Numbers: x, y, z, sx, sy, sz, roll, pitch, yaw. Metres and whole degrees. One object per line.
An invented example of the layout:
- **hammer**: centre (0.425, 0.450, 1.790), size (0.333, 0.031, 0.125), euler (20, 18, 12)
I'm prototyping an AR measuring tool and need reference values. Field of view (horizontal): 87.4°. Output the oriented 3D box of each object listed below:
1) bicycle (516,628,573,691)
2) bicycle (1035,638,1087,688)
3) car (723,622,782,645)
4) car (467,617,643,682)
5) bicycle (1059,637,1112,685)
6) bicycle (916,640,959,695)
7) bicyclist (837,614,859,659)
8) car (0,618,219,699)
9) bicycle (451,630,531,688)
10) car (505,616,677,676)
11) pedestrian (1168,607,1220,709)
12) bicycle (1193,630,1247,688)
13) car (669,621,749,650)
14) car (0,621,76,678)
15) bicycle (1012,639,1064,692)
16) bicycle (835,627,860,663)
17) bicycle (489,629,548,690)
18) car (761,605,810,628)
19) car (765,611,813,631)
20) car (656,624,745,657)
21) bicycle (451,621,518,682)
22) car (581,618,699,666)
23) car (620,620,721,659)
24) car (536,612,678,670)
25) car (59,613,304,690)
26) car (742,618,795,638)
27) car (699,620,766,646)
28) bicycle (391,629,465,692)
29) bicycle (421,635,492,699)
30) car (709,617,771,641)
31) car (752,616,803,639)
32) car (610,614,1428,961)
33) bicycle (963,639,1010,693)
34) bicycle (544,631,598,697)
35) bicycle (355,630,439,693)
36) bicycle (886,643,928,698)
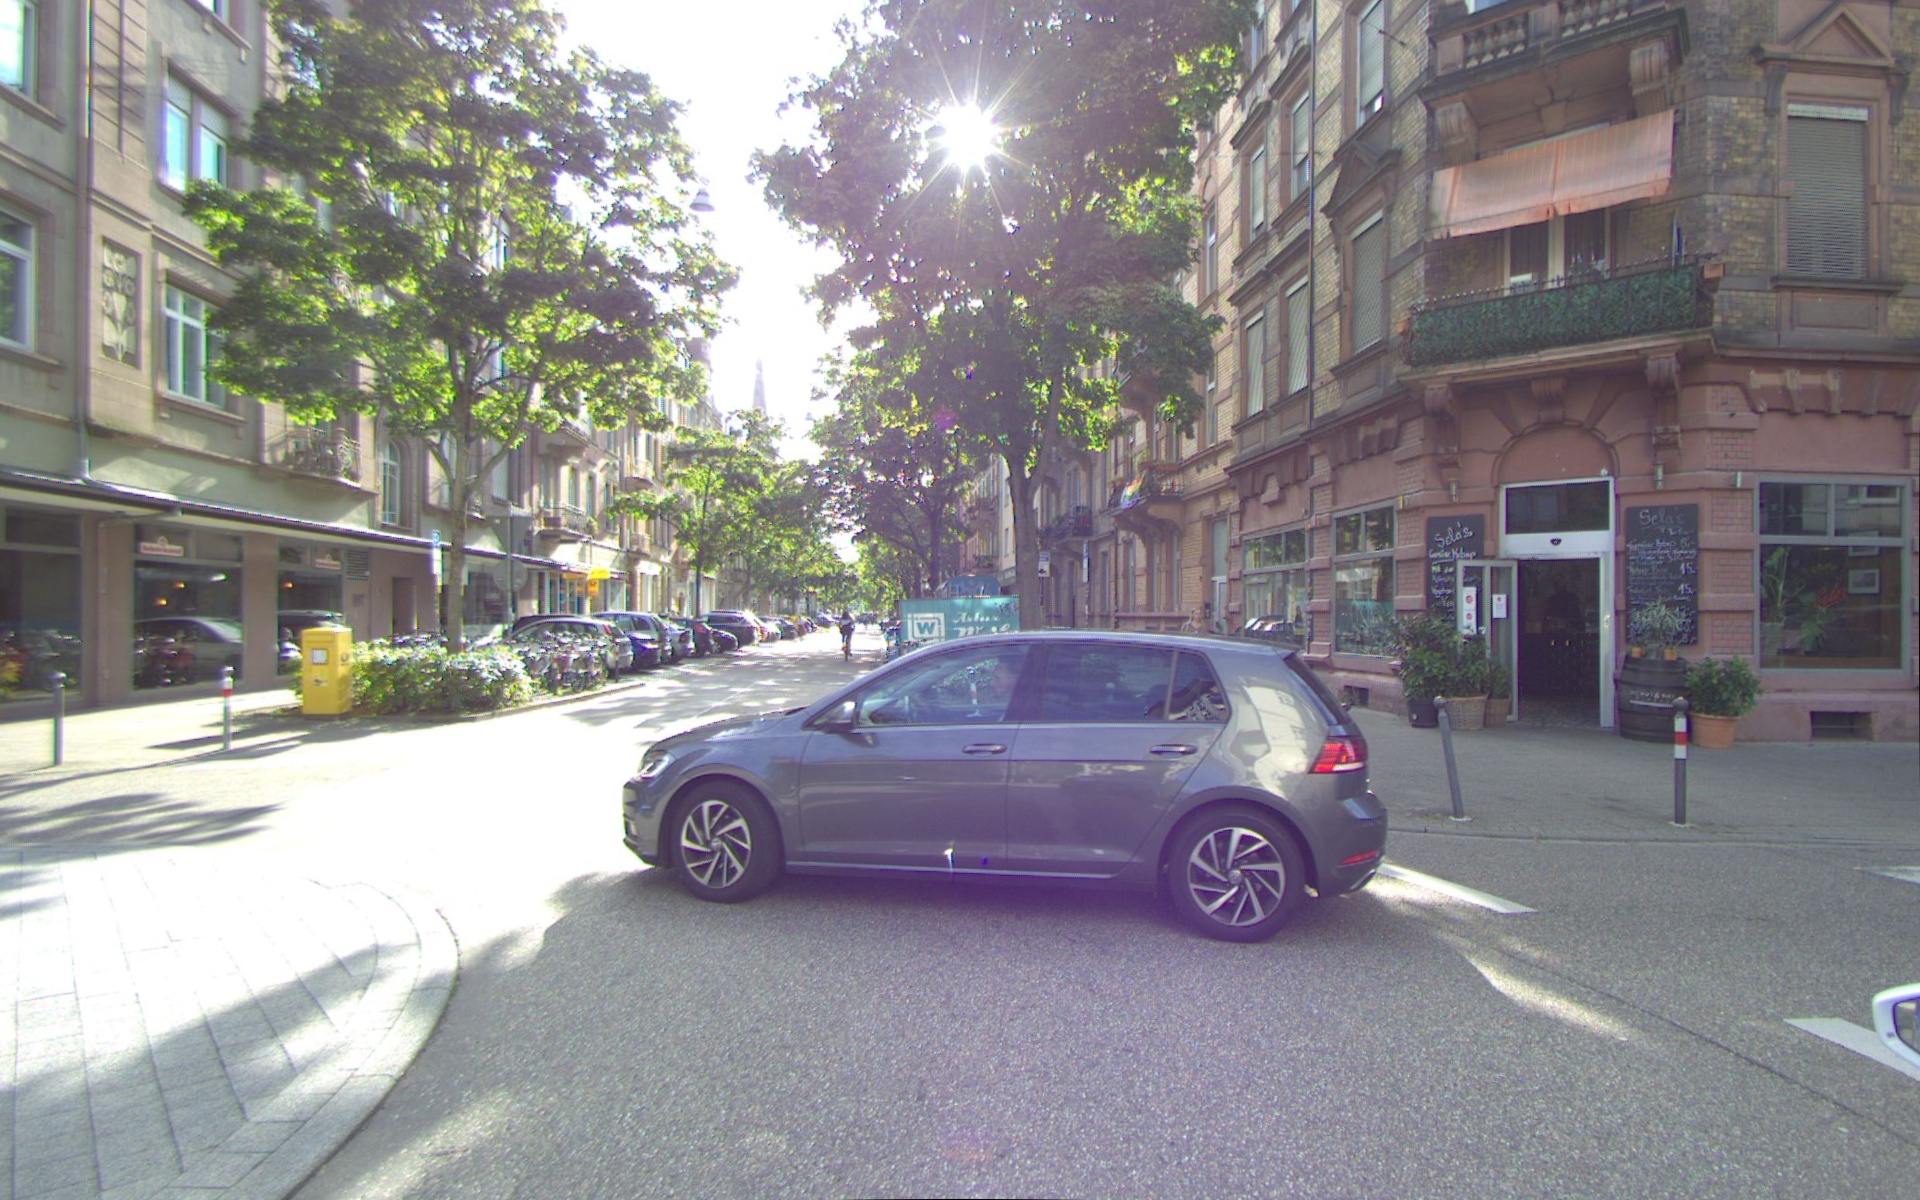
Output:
- **bicycle**: centre (-8.361, 1.163, 20.294), size (0.470, 1.173, 2.289), euler (0, -1, -7)
- **bicycle**: centre (2.209, 1.376, 22.279), size (0.581, 0.981, 2.073), euler (-2, -1, -10)
- **car**: centre (-12.272, 1.964, 59.598), size (3.275, 1.333, 1.406), euler (0, -2, -5)
- **car**: centre (-9.795, 1.172, 24.464), size (3.627, 1.496, 1.576), euler (0, 1, -2)
- **bicycle**: centre (2.827, 1.372, 22.900), size (0.581, 0.981, 2.073), euler (-2, -1, -10)
- **bicycle**: centre (-0.498, 1.404, 21.453), size (0.581, 1.043, 2.073), euler (-2, -1, -10)
- **bicyclist**: centre (-4.175, 1.339, 37.440), size (0.679, 1.608, 1.128), euler (1, 1, 1)
- **car**: centre (-17.276, 1.117, 19.767), size (3.933, 1.449, 1.761), euler (0, 1, -15)
- **bicycle**: centre (-9.813, 1.207, 21.116), size (0.695, 1.116, 2.512), euler (-1, -1, -5)
- **car**: centre (-9.773, 1.203, 26.820), size (3.996, 1.496, 1.576), euler (0, 1, -5)
- **pedestrian**: centre (3.867, 0.943, 16.671), size (0.603, 1.599, 0.810), euler (-3, 1, 0)
- **bicycle**: centre (5.388, 1.204, 20.895), size (0.518, 1.081, 1.782), euler (1, 0, -4)
- **car**: centre (-11.105, 1.570, 44.588), size (3.275, 1.270, 1.376), euler (0, -2, -5)
- **car**: centre (-28.943, 1.491, 30.232), size (1.548, 1.587, 3.631), euler (0, 0, -3)
- **bicycle**: centre (1.656, 1.379, 21.702), size (0.581, 1.025, 2.073), euler (-2, -1, -10)
- **bicycle**: centre (-4.173, 1.669, 37.438), size (0.679, 1.215, 1.978), euler (1, 1, 1)
- **bicycle**: centre (-8.856, 1.158, 20.222), size (0.470, 1.149, 2.261), euler (0, -1, -7)
- **car**: centre (-12.591, 1.196, 72.529), size (3.295, 1.615, 1.595), euler (0, 1, -4)
- **car**: centre (-13.392, 1.616, 78.559), size (3.649, 1.492, 1.802), euler (0, 1, -10)
- **car**: centre (-10.526, 1.647, 40.860), size (3.275, 1.270, 1.376), euler (0, -2, -5)
- **bicycle**: centre (-9.413, 0.986, 19.986), size (0.470, 1.149, 2.429), euler (0, -1, -7)
- **car**: centre (-10.005, 1.325, 31.539), size (3.275, 1.462, 1.376), euler (0, -2, -5)
- **car**: centre (-10.381, 1.418, 36.189), size (3.275, 1.350, 1.376), euler (0, -2, -5)
- **car**: centre (-10.251, 1.167, 29.351), size (3.628, 1.618, 1.576), euler (0, 1, -5)
- **car**: centre (-17.276, 1.098, 22.516), size (3.933, 1.572, 1.761), euler (0, 1, -15)
- **car**: centre (-12.561, 1.854, 66.050), size (3.275, 1.333, 1.406), euler (0, -2, -5)
- **car**: centre (-12.117, 1.751, 53.587), size (3.275, 1.333, 1.406), euler (0, -2, -5)
- **bicycle**: centre (-10.444, 1.161, 19.807), size (0.470, 1.149, 2.429), euler (0, -1, -7)
- **bicycle**: centre (-9.921, 1.290, 19.882), size (0.470, 1.149, 2.429), euler (0, -1, -7)
- **car**: centre (-12.394, 1.622, 56.683), size (3.275, 1.333, 1.406), euler (0, -2, -5)
- **car**: centre (-12.426, 1.883, 68.638), size (3.275, 1.495, 1.406), euler (0, -2, -5)
- **car**: centre (0.309, 0.857, 5.666), size (3.919, 1.456, 1.799), euler (1, -2, 12)
- **bicycle**: centre (0.543, 1.394, 21.604), size (0.581, 1.025, 2.073), euler (-2, -1, -10)
- **bicycle**: centre (-7.848, 1.250, 20.344), size (0.470, 1.240, 2.291), euler (0, -1, -7)
- **bicycle**: centre (-11.003, 1.168, 19.724), size (0.569, 1.149, 2.429), euler (0, -1, -7)
- **bicycle**: centre (-1.140, 1.466, 21.295), size (0.581, 1.043, 2.138), euler (-2, -1, -10)
